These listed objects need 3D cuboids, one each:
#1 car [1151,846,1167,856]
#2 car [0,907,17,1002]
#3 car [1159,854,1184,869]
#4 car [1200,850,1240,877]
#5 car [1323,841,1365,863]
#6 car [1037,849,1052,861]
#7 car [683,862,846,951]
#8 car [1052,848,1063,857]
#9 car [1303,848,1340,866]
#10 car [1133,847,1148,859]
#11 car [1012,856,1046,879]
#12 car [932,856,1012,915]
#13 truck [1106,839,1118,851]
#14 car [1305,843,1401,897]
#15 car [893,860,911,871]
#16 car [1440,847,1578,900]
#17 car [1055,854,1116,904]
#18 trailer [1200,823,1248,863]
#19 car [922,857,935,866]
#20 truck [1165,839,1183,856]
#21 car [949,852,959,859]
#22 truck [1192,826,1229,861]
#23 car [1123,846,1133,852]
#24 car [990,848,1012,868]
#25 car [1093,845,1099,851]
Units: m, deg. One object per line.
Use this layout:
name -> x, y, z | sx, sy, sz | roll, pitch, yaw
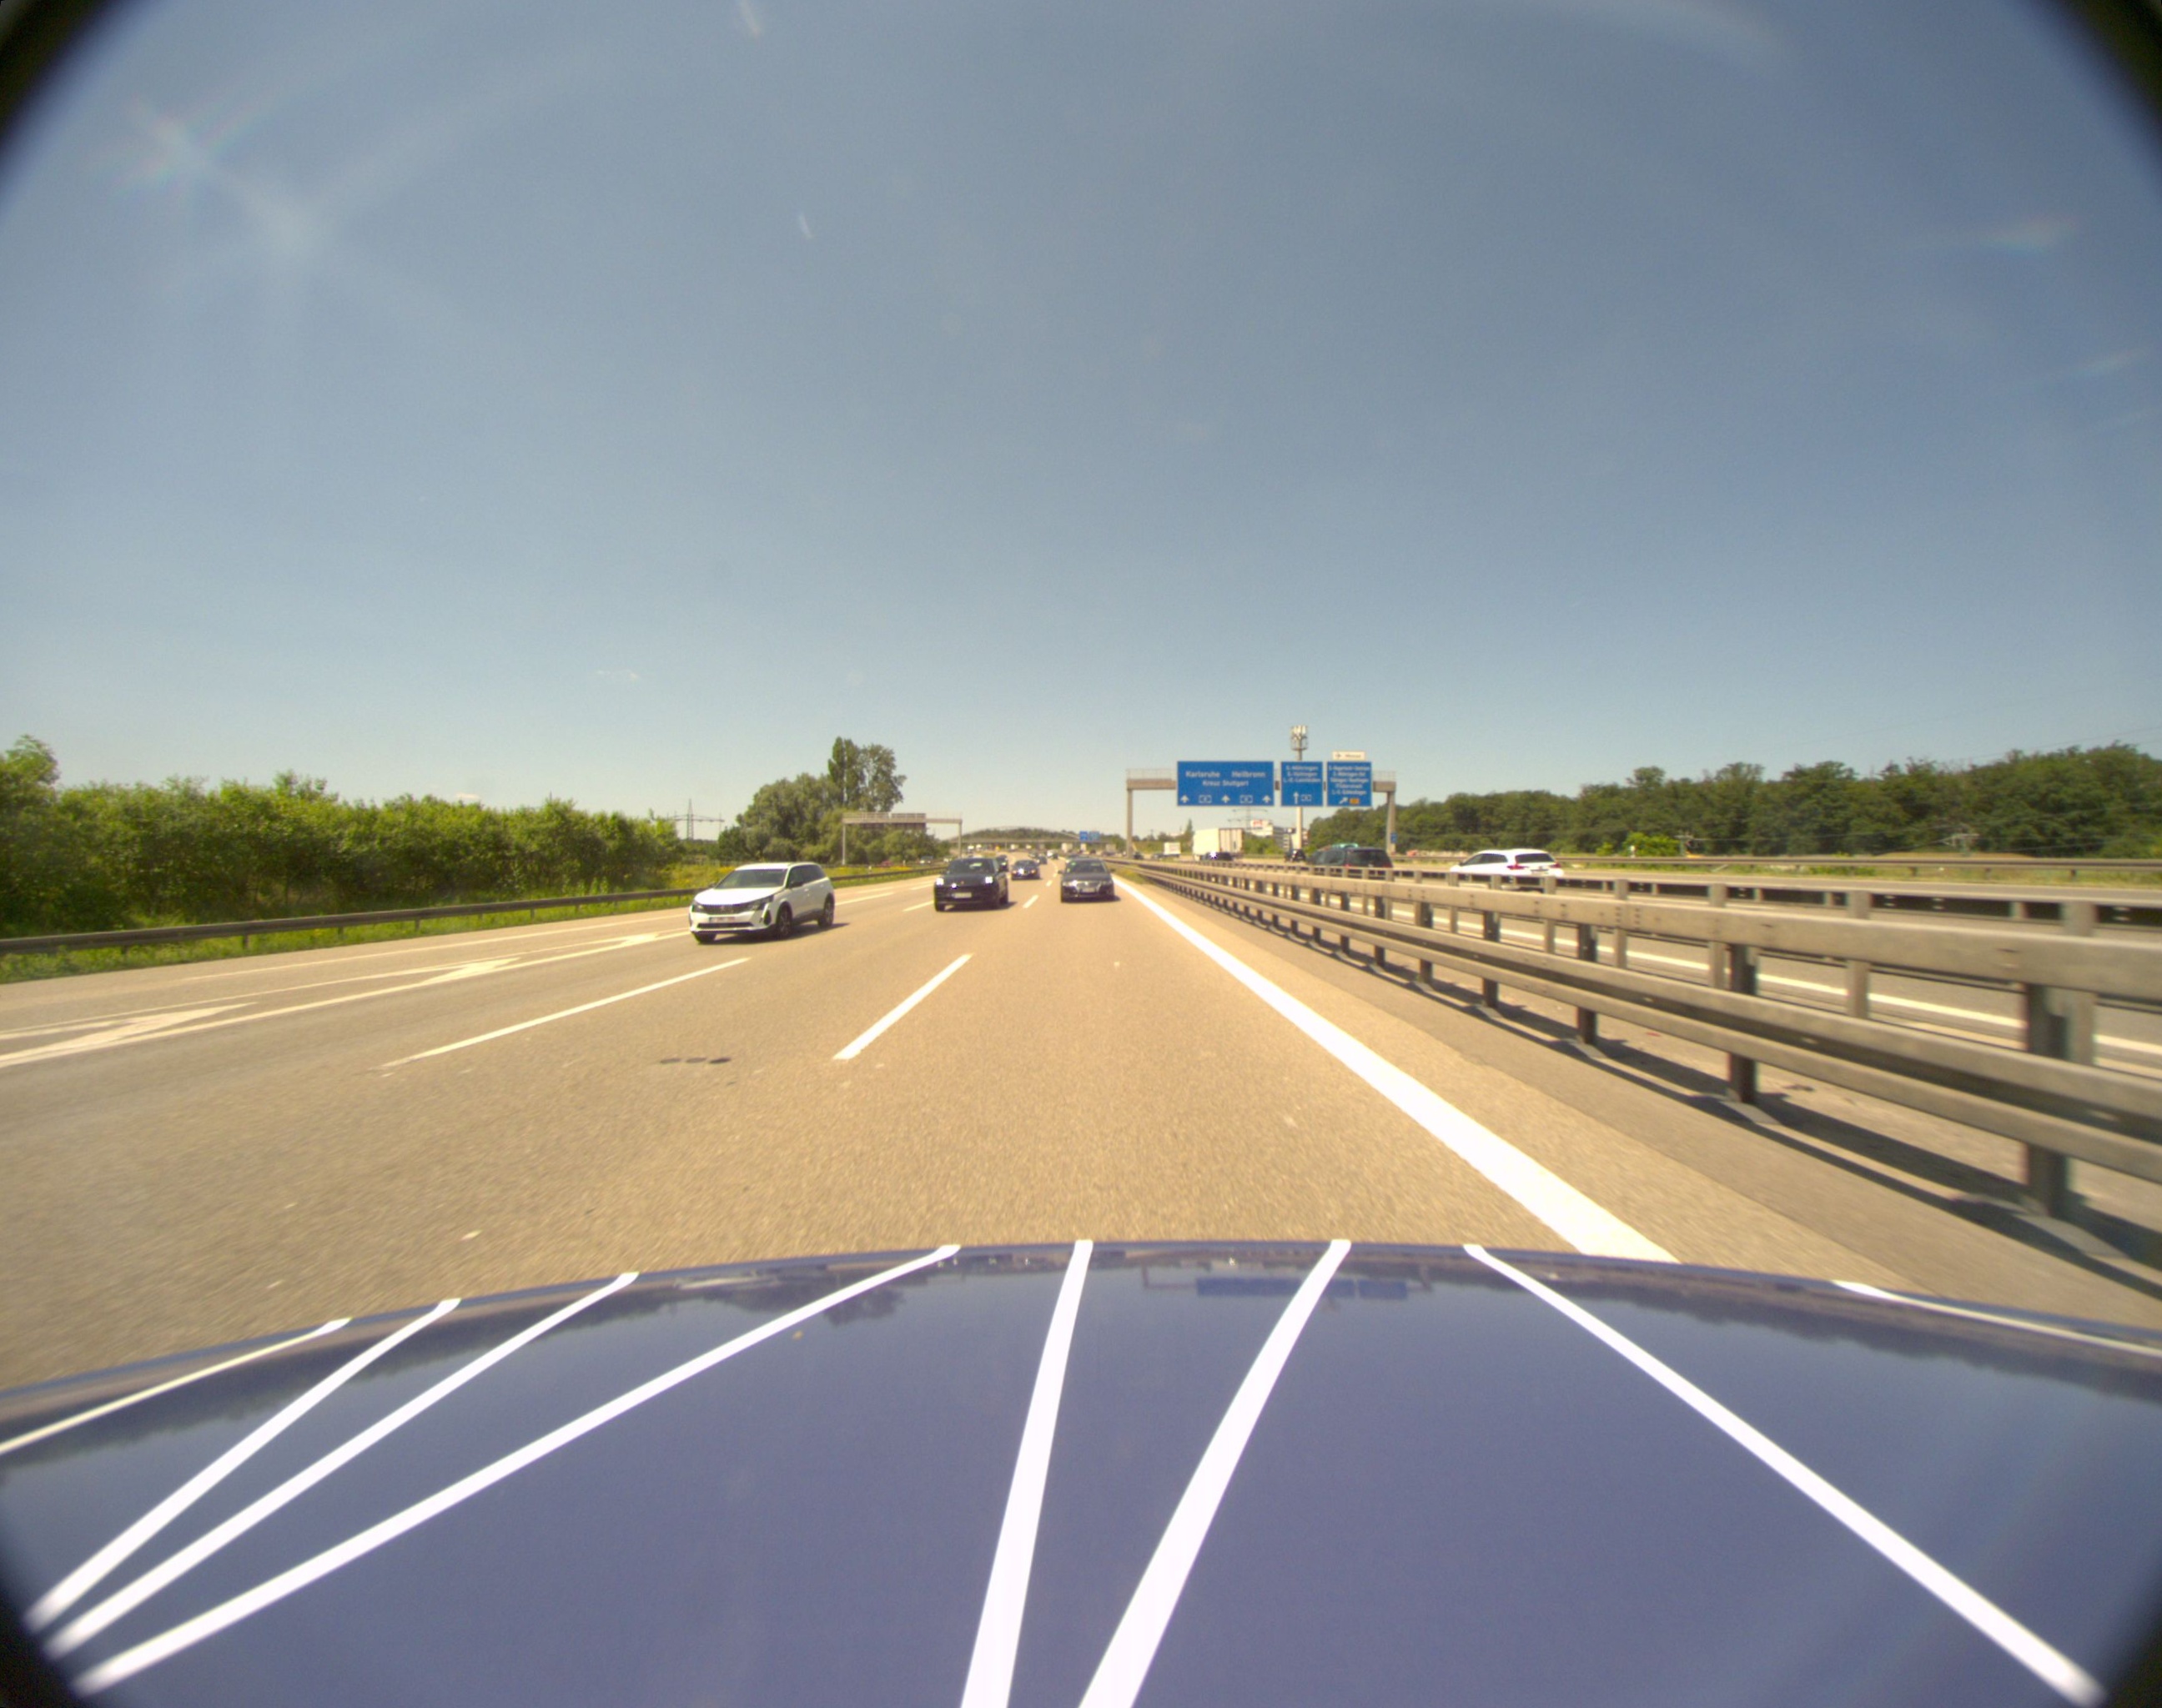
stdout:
car -> 11.924, -0.442, 116.911 | 1.747, 1.500, 5.101 | -2, 0, -1
car -> -17.581, 1.599, 9.362 | 1.789, 1.429, 4.849 | -2, 1, 8
car -> 9.129, 0.735, 76.842 | 1.846, 1.452, 4.996 | -2, 0, 0
car -> 9.339, 0.606, 51.349 | 1.760, 1.659, 4.697 | -2, 0, 0
car -> 24.048, -0.217, 69.710 | 2.021, 1.903, 5.161 | -2, 0, 0
car -> -5.752, 0.182, 120.583 | 1.924, 1.762, 4.000 | -2, 1, 2
car -> -6.992, 1.060, 17.388 | 1.748, 1.582, 4.618 | -2, 1, 0
car -> -5.241, -0.317, 169.356 | 2.000, 1.849, 3.996 | -2, 1, -8
car -> 20.322, 0.227, 64.452 | 1.700, 1.417, 4.455 | -2, 0, 0
car -> 8.445, -0.164, 108.071 | 1.736, 1.579, 5.355 | -2, 0, 0
car -> -3.582, 0.927, 52.817 | 1.931, 1.390, 4.117 | -2, 1, 2
car -> -3.403, 0.939, 24.416 | 1.931, 1.586, 4.131 | -2, 1, 0
truck -> 8.767, -2.474, 215.376 | 2.382, 3.259, 7.657 | -2, 1, -3
car -> 9.713, 0.521, 27.525 | 1.760, 1.731, 4.721 | -2, 0, 0
car -> -26.795, 1.717, 114.137 | 1.704, 1.566, 4.127 | -2, 1, -1
car -> 13.486, 0.567, 24.315 | 1.760, 1.473, 4.634 | -2, 0, 0
car -> 0.258, 0.815, 26.792 | 1.931, 1.499, 4.391 | -2, 1, 3
trailer -> 16.383, -1.263, 87.943 | 3.231, 4.168, 11.406 | -2, 1, -1
car -> -29.142, 1.413, 145.419 | 1.704, 1.566, 4.127 | -2, 1, -1
truck -> 17.930, -1.214, 146.761 | 2.326, 3.149, 8.111 | -2, 0, -1
car -> -31.109, 0.416, 186.307 | 1.704, 1.566, 4.127 | -2, 1, 0
truck -> 16.317, -1.289, 96.108 | 3.256, 4.185, 7.692 | -2, 0, 0
car -> 11.488, -1.122, 185.724 | 1.910, 1.412, 3.999 | -2, 0, -1
car -> -8.590, 0.412, 81.916 | 1.808, 1.908, 4.294 | -2, 1, 2
car -> 4.939, -2.045, 255.193 | 1.852, 1.646, 4.909 | -2, 1, 0
